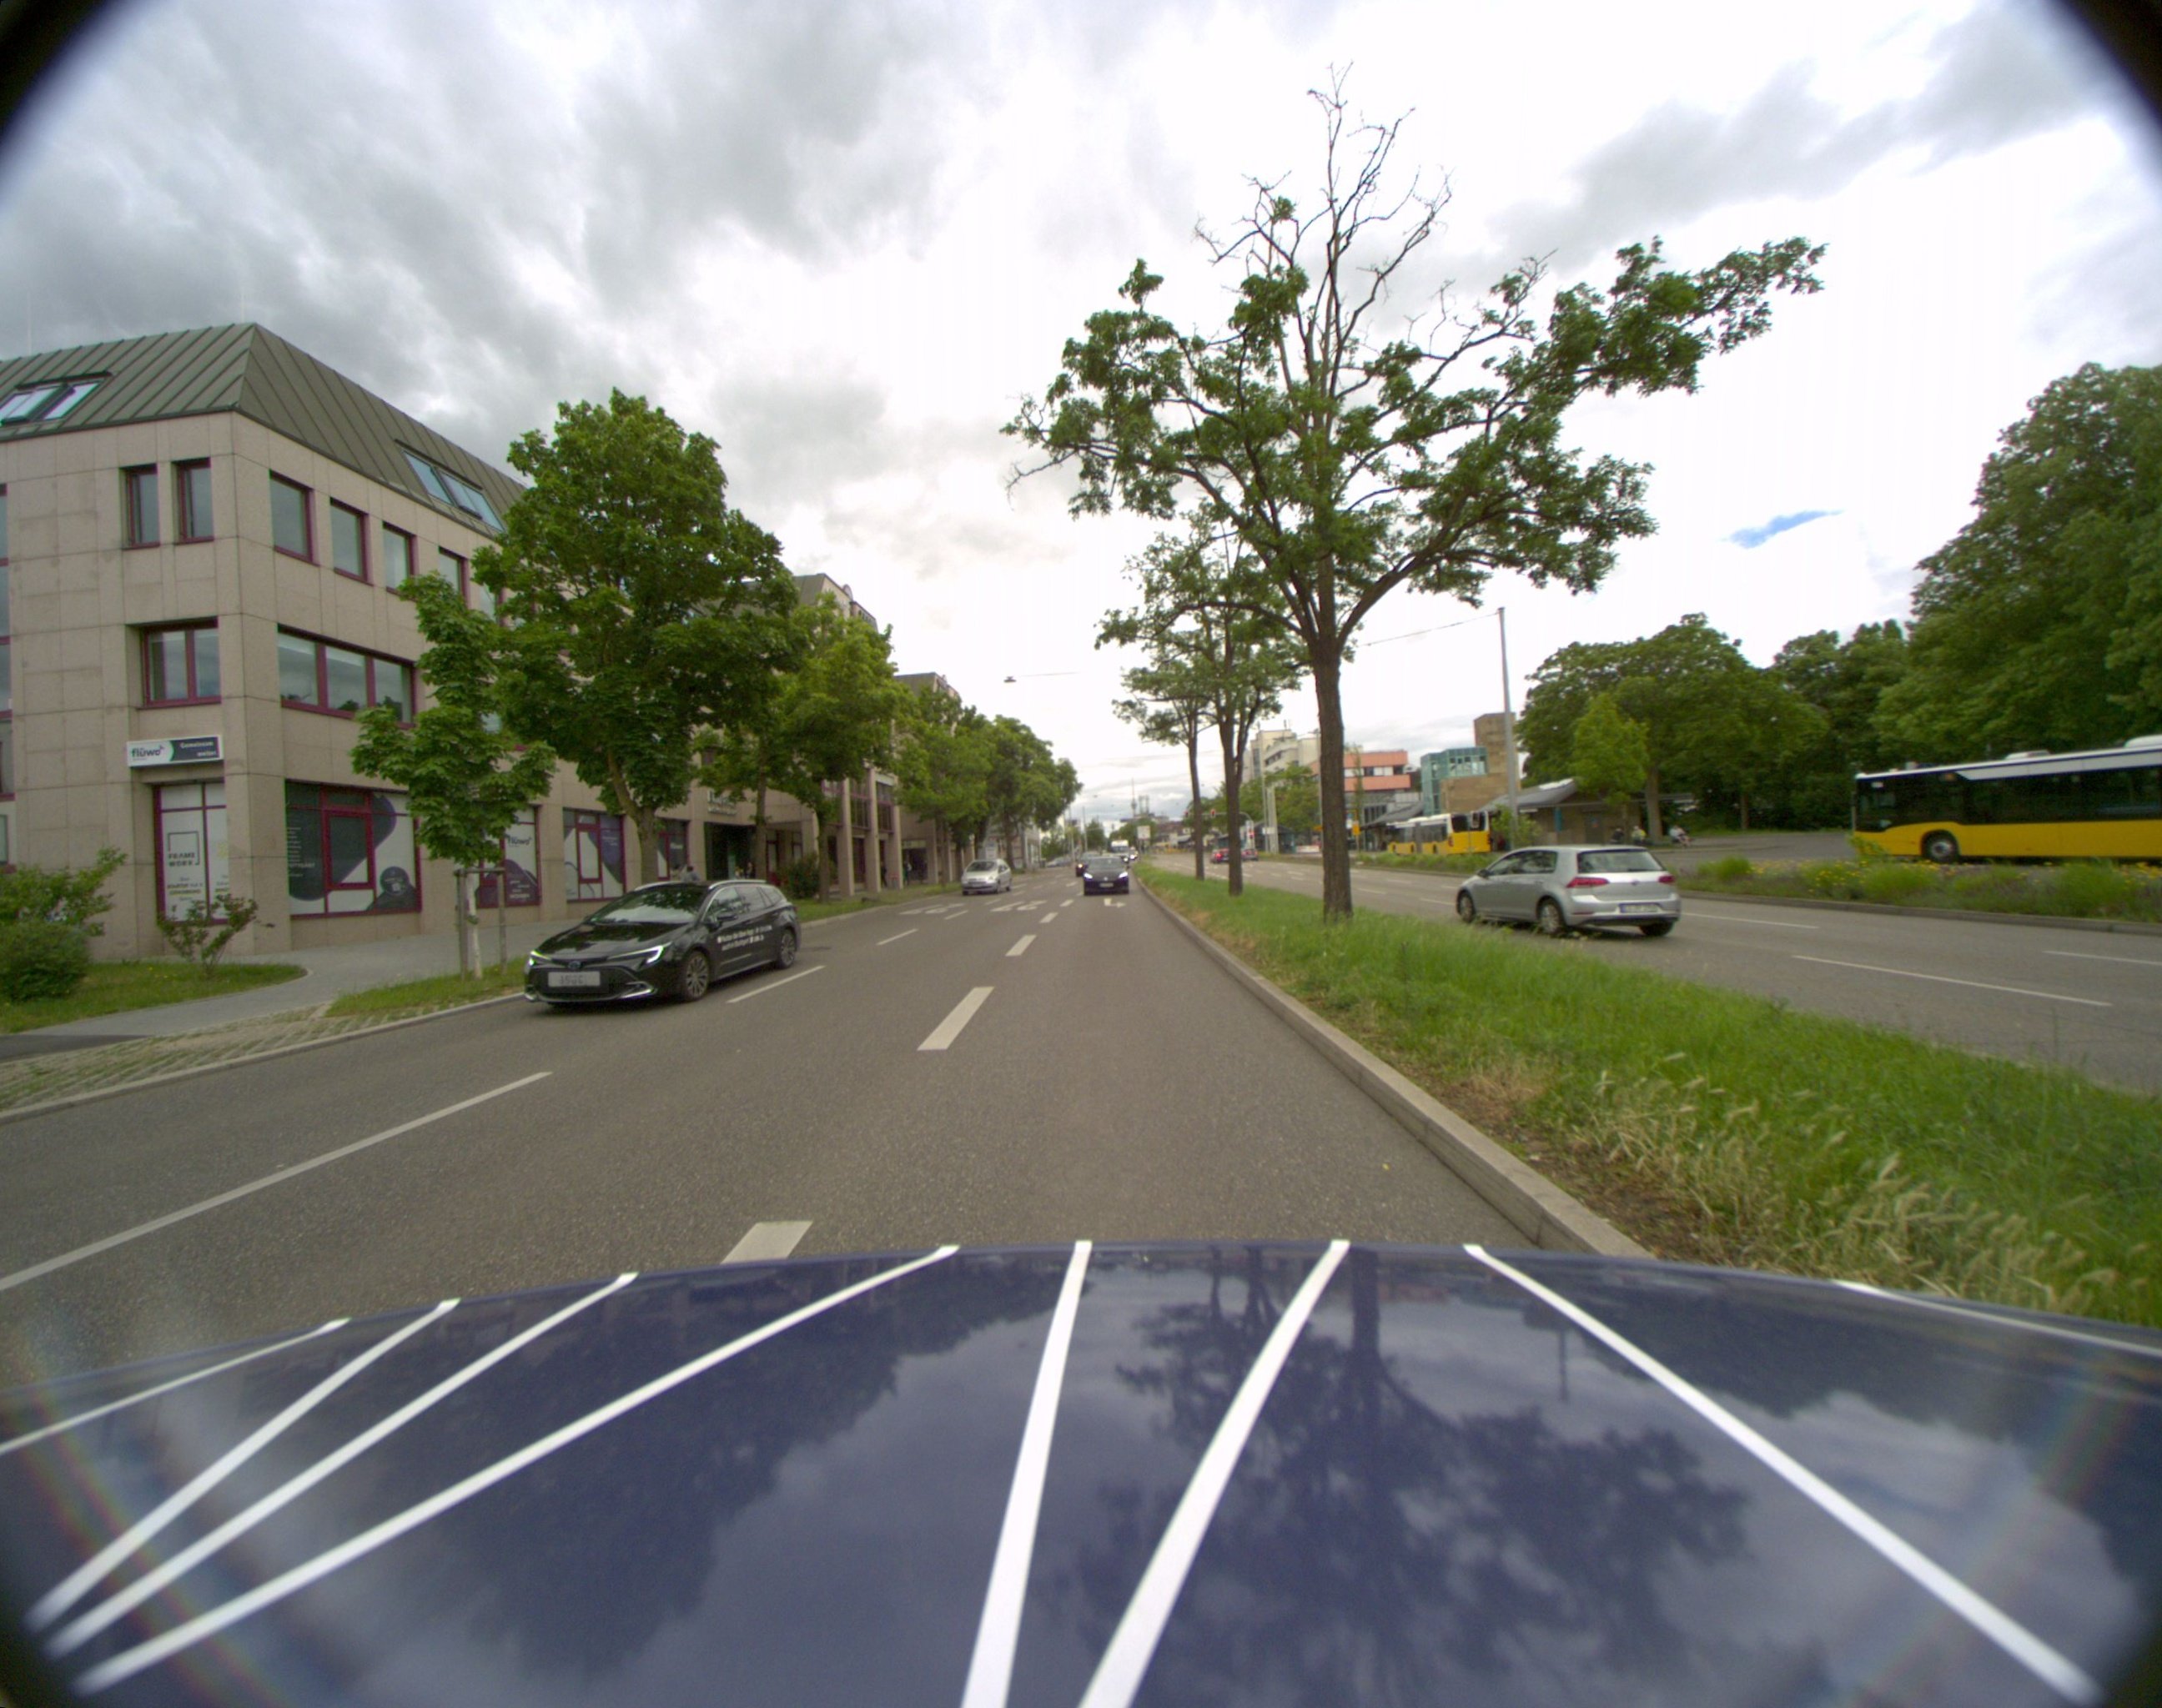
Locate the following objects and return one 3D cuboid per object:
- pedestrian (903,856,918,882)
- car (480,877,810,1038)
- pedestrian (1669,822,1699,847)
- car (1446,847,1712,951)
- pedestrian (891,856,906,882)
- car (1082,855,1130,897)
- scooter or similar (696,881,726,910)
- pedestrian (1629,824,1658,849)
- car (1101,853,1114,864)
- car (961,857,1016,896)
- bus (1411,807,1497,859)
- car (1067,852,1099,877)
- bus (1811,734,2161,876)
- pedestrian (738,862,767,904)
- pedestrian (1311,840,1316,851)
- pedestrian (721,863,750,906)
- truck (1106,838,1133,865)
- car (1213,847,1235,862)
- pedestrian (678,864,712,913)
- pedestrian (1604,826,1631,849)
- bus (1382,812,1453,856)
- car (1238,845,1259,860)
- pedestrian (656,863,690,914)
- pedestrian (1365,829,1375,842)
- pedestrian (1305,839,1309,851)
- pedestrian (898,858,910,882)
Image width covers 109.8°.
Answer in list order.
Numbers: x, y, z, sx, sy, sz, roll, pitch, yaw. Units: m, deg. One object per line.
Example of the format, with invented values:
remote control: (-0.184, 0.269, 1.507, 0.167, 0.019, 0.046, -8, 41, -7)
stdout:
pedestrian: (-11.253, 1.001, 50.163, 0.659, 1.681, 0.843, -1, 1, 6)
car: (-5.349, 1.151, 10.160, 1.768, 1.440, 4.420, -3, 1, 0)
pedestrian: (31.951, -1.016, 40.256, 0.895, 1.247, 0.858, -3, 1, 3)
car: (8.033, 0.645, 12.809, 1.757, 1.436, 4.134, -1, 0, 0)
pedestrian: (-12.037, 0.966, 50.115, 0.659, 1.681, 0.843, -1, 1, 6)
car: (1.039, 0.830, 30.877, 1.763, 1.531, 4.048, -2, 0, 3)
scooter or similar: (-13.145, 1.468, 27.020, 0.585, 0.988, 0.847, -1, 1, 7)
pedestrian: (30.402, -0.941, 41.058, 0.859, 1.283, 0.894, -3, 1, -22)
car: (4.143, 0.666, 117.805, 1.895, 1.531, 4.048, -2, 0, 3)
car: (-4.251, 1.008, 35.500, 1.763, 1.625, 4.156, -2, 0, 3)
bus: (26.084, -1.428, 53.669, 2.814, 3.113, 9.306, -5, 0, 10)
car: (0.162, 0.732, 56.640, 2.150, 1.630, 5.095, -4, 0, 1)
bus: (26.130, -1.283, 20.399, 3.090, 3.144, 10.740, -7, 0, 5)
pedestrian: (-13.735, 1.207, 31.788, 0.596, 1.695, 0.970, -3, 1, 6)
pedestrian: (32.562, -1.208, 106.591, 0.485, 1.539, 0.383, -3, 1, -6)
pedestrian: (-14.436, 1.260, 31.753, 0.596, 1.695, 0.970, -3, 1, 6)
truck: (5.045, -0.404, 101.831, 3.118, 3.209, 6.523, -5, 1, 1)
car: (14.763, 0.038, 78.711, 1.662, 1.499, 3.769, -3, 1, 2)
pedestrian: (-13.259, 1.167, 26.116, 0.556, 1.643, 0.962, -1, 1, 7)
pedestrian: (30.561, -0.922, 43.301, 0.859, 1.247, 0.894, -3, 1, -26)
bus: (27.644, -1.551, 62.875, 2.781, 3.113, 9.444, -5, 0, 9)
car: (18.601, -0.177, 84.713, 1.819, 1.499, 4.001, -3, 1, 6)
pedestrian: (-14.132, 1.172, 26.341, 0.568, 1.690, 0.829, -3, 1, 6)
pedestrian: (34.371, -2.162, 90.472, 0.990, 1.452, 0.592, -3, 1, 18)
pedestrian: (31.719, -1.254, 106.602, 0.529, 1.539, 0.754, -3, 1, 18)
pedestrian: (-11.293, 1.003, 48.417, 0.562, 1.541, 0.544, -1, 1, 6)
